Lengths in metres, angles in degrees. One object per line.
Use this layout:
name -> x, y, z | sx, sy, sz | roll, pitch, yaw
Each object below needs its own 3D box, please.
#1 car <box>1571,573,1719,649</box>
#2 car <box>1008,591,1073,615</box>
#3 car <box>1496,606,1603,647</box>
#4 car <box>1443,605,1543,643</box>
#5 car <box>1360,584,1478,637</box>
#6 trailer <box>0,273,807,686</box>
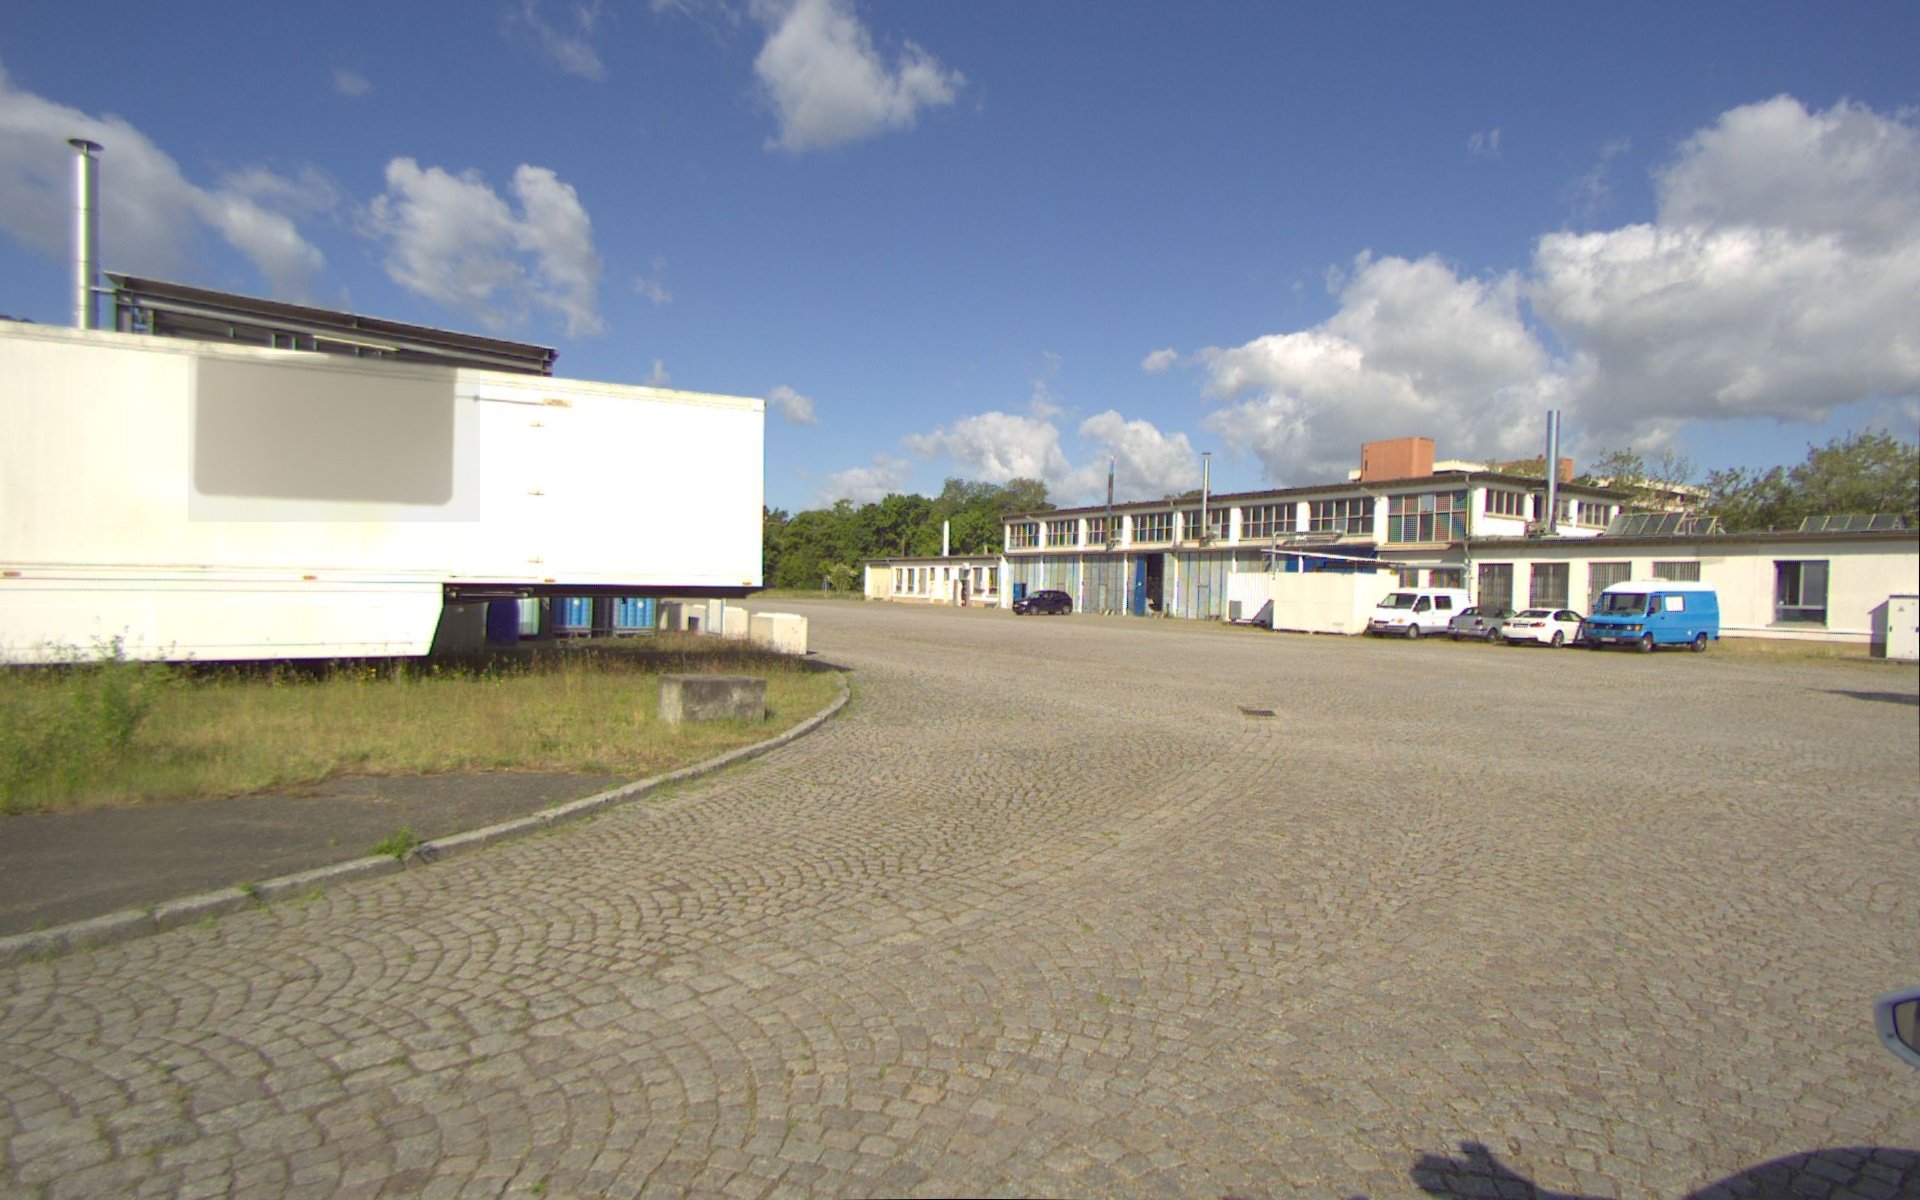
car -> 24.145, 0.408, 35.365 | 5.172, 2.516, 2.075 | 1, 1, -28
car -> 5.303, 0.182, 65.815 | 4.031, 1.489, 1.725 | 0, 1, -32
car -> 21.823, 0.941, 37.170 | 3.691, 1.424, 1.725 | 0, 1, -28
car -> 21.266, 0.959, 40.082 | 3.783, 1.417, 1.680 | 1, 1, -28
car -> 19.363, 0.453, 42.321 | 4.744, 2.109, 1.995 | 1, 1, -28
trailer -> -7.465, -1.116, 12.193 | 10.752, 3.963, 2.760 | 1, 1, -29
